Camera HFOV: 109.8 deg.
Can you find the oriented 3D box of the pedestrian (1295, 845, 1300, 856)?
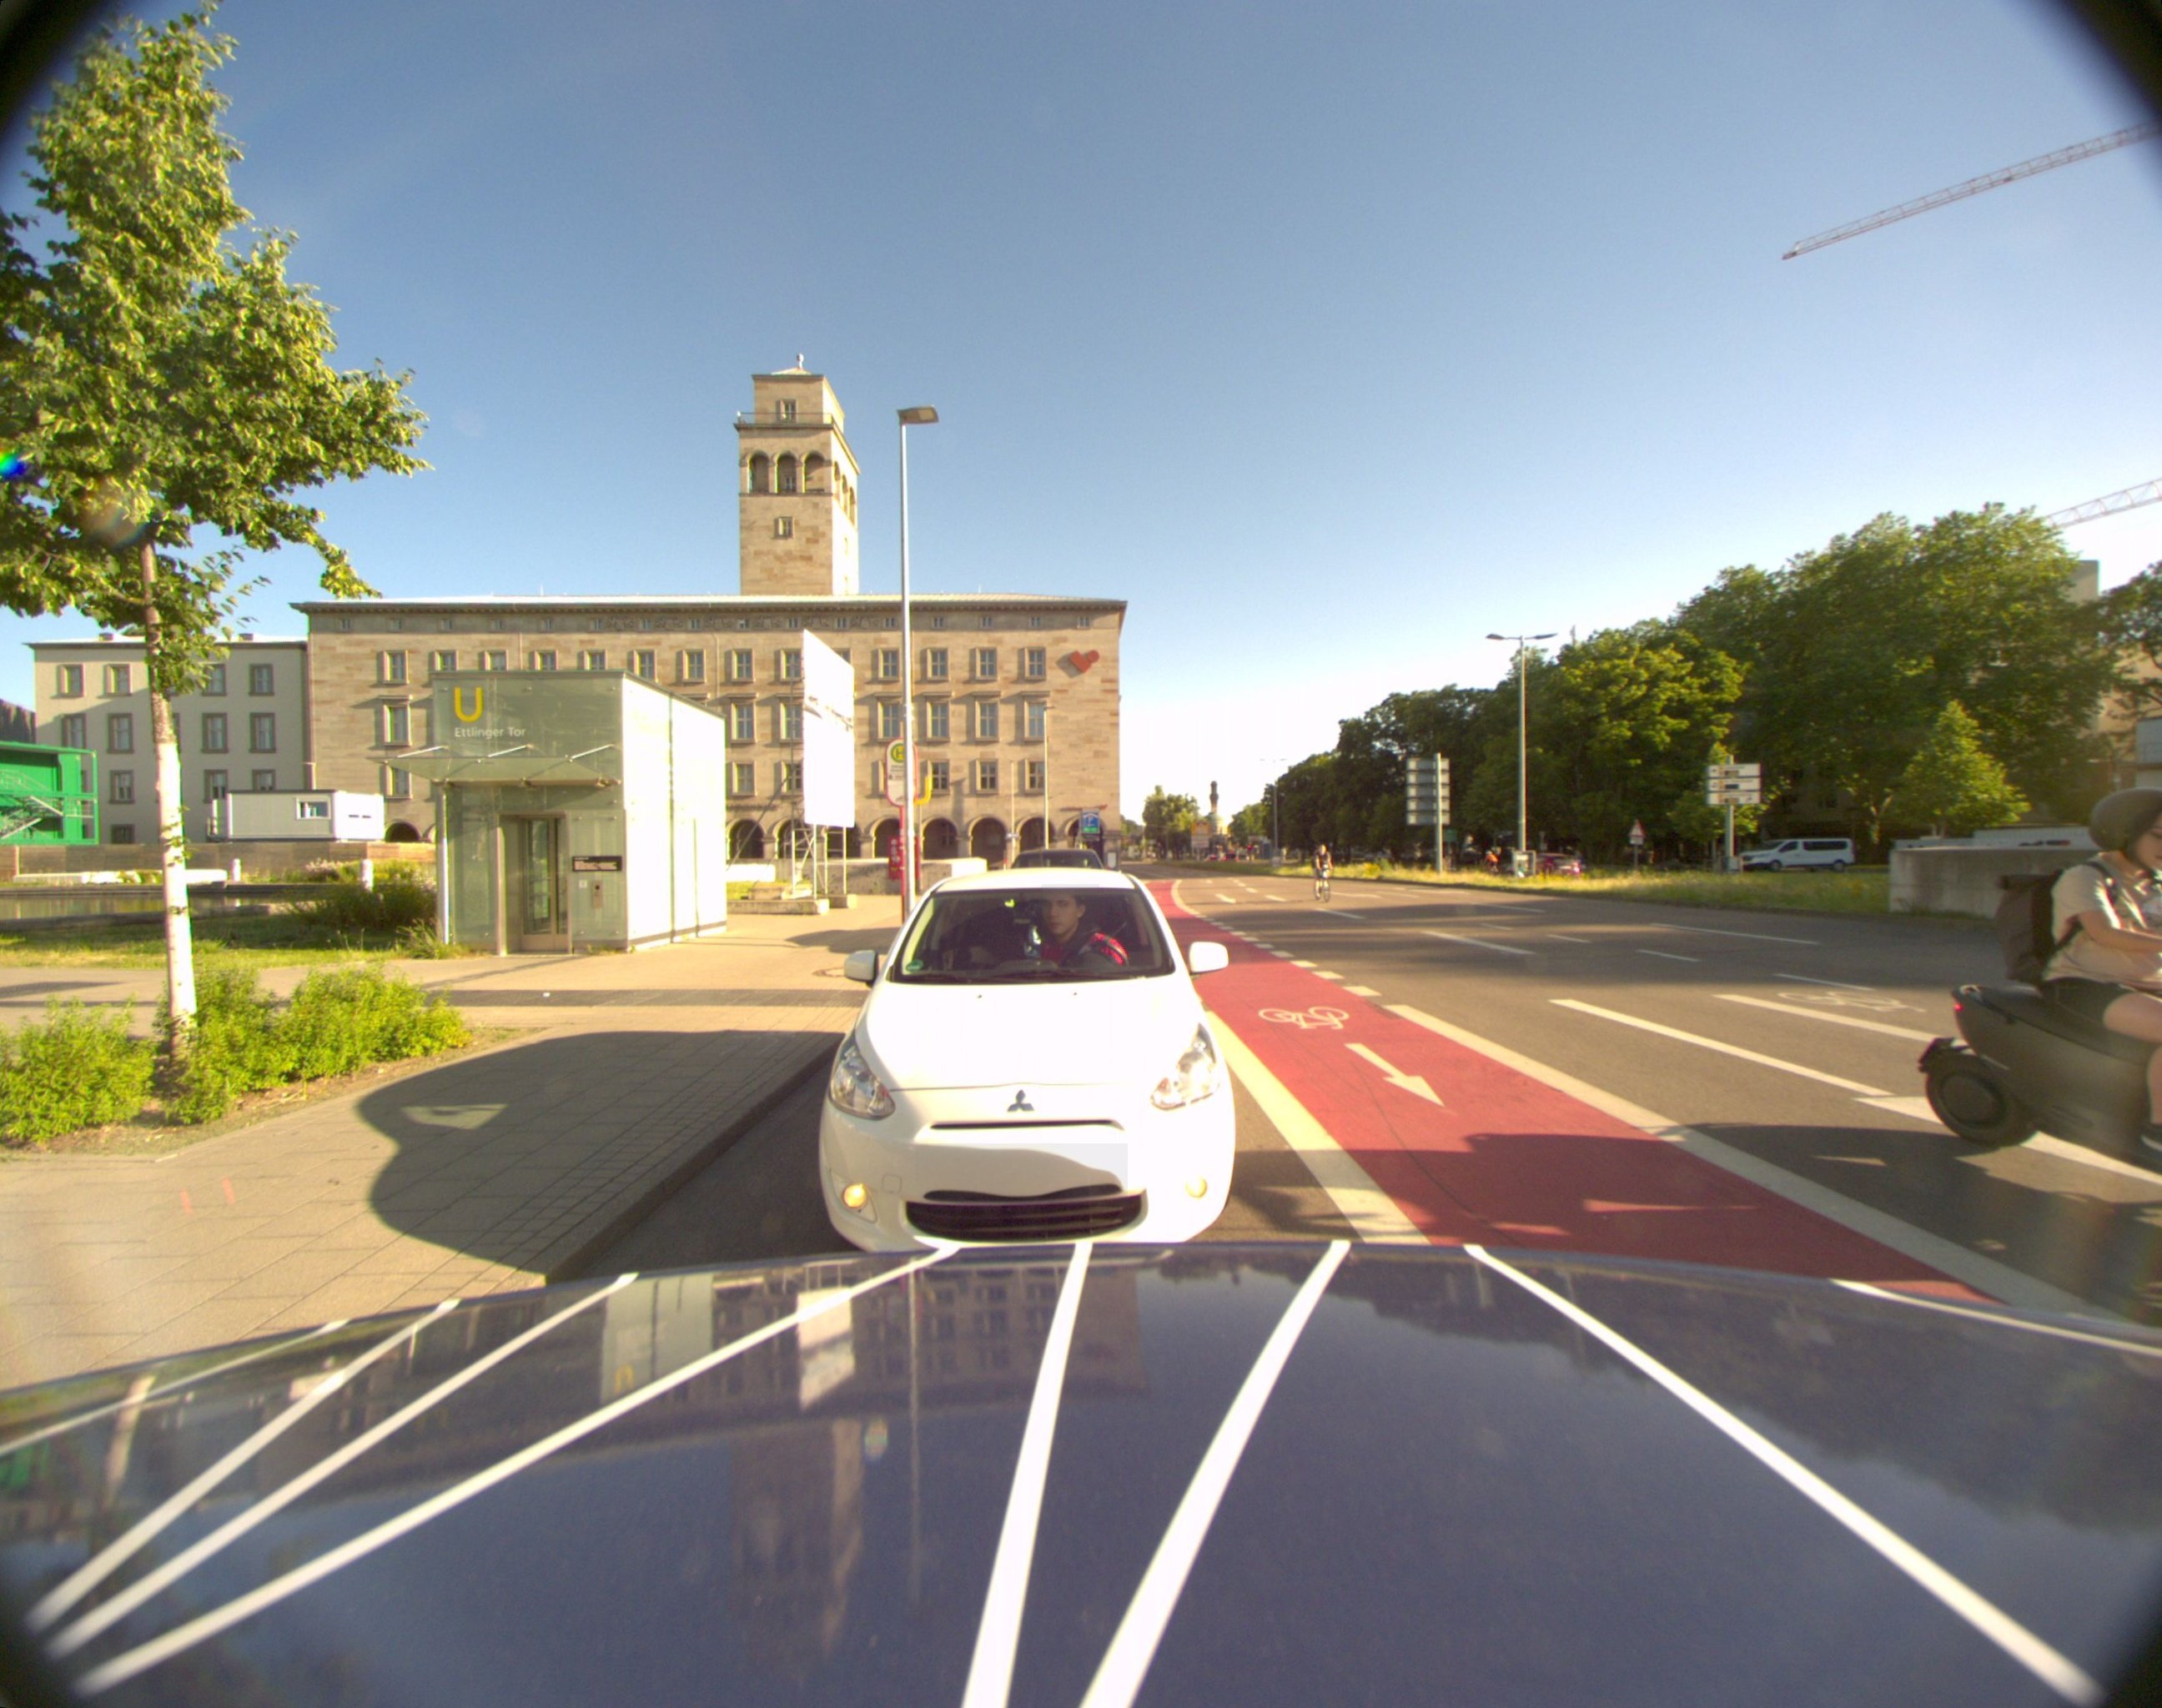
[{"bbox_3d":[41.362,-0.629,145.042,0.697,2.002,0.695,-1,1,-16],"label":"pedestrian"}]

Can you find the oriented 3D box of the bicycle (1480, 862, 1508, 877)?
[{"bbox_3d":[24.290,0.896,44.736,0.617,0.800,1.980,-1,0,1],"label":"bicycle"}]

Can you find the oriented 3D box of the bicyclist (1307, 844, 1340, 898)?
[{"bbox_3d":[6.981,0.482,21.899,0.624,1.494,0.938,-2,1,2],"label":"bicyclist"}]

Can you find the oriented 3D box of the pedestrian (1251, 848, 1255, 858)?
[{"bbox_3d":[34.575,-0.287,152.745,0.525,2.002,0.594,-1,1,-2],"label":"pedestrian"}]

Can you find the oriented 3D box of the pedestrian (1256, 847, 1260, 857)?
[{"bbox_3d":[35.534,-0.323,152.719,0.525,2.002,0.594,-1,1,-2],"label":"pedestrian"}]

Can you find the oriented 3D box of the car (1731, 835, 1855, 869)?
[{"bbox_3d":[42.126,-0.121,45.041,5.325,1.880,2.000,-1,0,2],"label":"car"}]

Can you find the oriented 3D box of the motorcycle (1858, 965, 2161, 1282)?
[{"bbox_3d":[4.306,1.061,2.911,0.756,0.963,1.960,-1,0,5],"label":"motorcycle"}]

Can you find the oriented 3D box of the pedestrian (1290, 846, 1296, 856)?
[{"bbox_3d":[40.383,-0.588,144.723,0.697,2.002,0.695,-1,1,-16],"label":"pedestrian"}]

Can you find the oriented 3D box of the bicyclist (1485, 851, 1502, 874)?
[{"bbox_3d":[24.284,0.480,44.725,0.617,1.359,0.768,-1,1,1],"label":"bicyclist"}]

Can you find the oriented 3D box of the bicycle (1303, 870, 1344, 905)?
[{"bbox_3d":[6.998,0.938,22.023,0.624,0.903,1.910,-2,0,2],"label":"bicycle"}]

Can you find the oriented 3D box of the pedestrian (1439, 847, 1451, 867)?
[{"bbox_3d":[31.901,0.257,66.581,0.664,1.716,0.698,-1,1,0],"label":"pedestrian"}]

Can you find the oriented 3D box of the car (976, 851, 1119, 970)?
[{"bbox_3d":[-0.490,0.787,13.128,1.999,1.652,4.791,-1,0,0],"label":"car"}]

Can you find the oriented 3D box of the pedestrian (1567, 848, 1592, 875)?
[{"bbox_3d":[33.233,0.508,50.631,0.997,1.773,0.964,-2,1,1],"label":"pedestrian"}]

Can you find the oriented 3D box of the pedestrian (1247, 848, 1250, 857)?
[{"bbox_3d":[34.552,-0.331,156.925,0.525,2.002,0.594,-1,1,-2],"label":"pedestrian"}]

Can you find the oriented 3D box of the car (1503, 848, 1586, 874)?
[{"bbox_3d":[22.124,0.308,36.437,1.618,1.126,3.770,-2,0,-1],"label":"car"}]

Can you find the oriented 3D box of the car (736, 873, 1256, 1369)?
[{"bbox_3d":[-0.253,0.944,4.505,1.660,1.463,3.969,-3,0,1],"label":"car"}]

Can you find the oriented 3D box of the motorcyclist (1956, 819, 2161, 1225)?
[{"bbox_3d":[4.302,0.599,2.965,0.756,1.475,0.882,-1,1,5],"label":"motorcyclist"}]

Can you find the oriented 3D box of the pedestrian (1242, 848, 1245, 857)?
[{"bbox_3d":[33.586,-0.273,157.158,0.525,1.955,0.594,-1,1,-2],"label":"pedestrian"}]
